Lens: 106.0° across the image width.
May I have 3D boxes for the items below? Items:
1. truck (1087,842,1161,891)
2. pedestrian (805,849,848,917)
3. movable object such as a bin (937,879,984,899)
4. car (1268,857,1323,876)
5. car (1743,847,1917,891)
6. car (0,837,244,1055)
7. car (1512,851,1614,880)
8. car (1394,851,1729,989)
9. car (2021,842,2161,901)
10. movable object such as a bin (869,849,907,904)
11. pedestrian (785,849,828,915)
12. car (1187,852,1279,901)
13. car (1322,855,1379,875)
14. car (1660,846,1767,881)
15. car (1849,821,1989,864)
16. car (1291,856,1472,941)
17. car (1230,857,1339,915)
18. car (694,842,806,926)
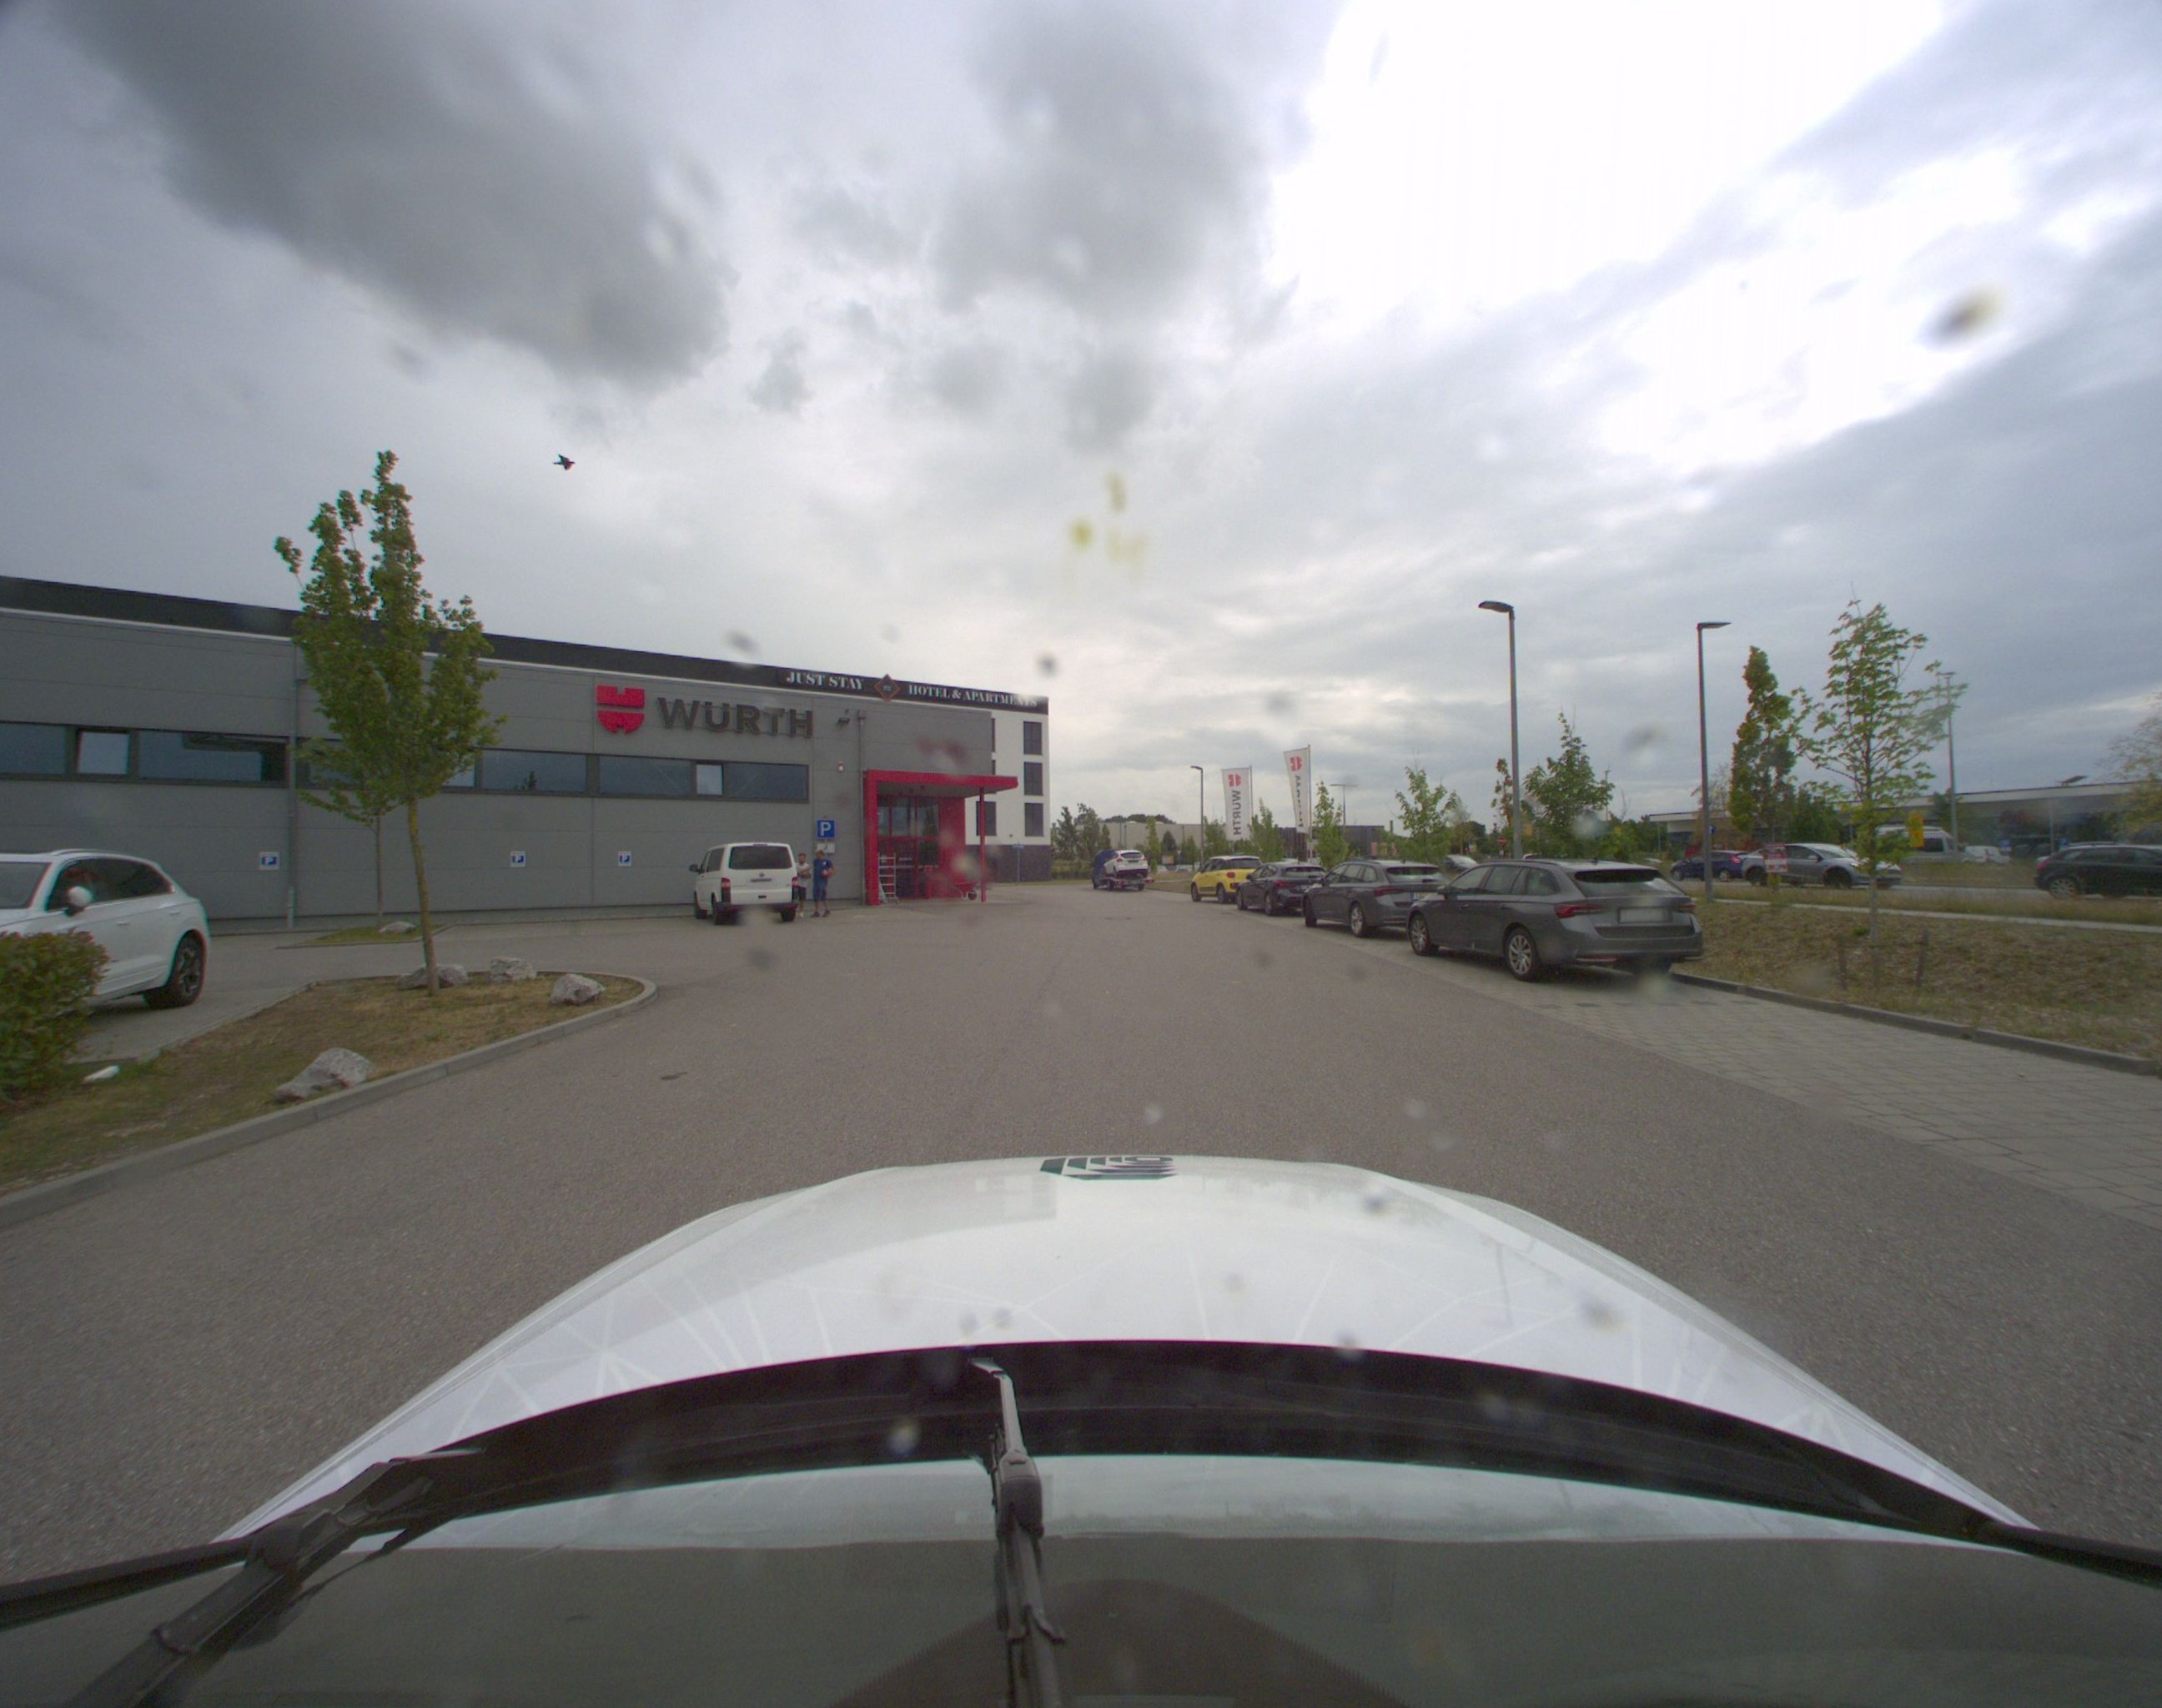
[{"bbox_3d":[2.232,0.729,45.823,2.332,2.406,7.868,-3,-1,-10],"label":"truck"},{"bbox_3d":[-6.939,0.780,22.203,0.670,1.803,0.886,-1,-1,36],"label":"pedestrian"},{"bbox_3d":[-4.470,1.305,30.180,1.495,0.704,0.957,0,-1,-25],"label":"movable object such as a bin"},{"bbox_3d":[16.371,0.967,62.496,1.769,1.395,4.526,-1,-1,-21],"label":"car"},{"bbox_3d":[26.571,0.512,29.142,1.760,1.395,4.549,-1,0,-6],"label":"car"},{"bbox_3d":[-9.886,0.776,7.244,2.005,1.650,4.537,-2,0,-27],"label":"car"},{"bbox_3d":[25.062,0.616,42.526,1.768,1.395,4.528,-1,-1,-19],"label":"car"},{"bbox_3d":[6.063,0.728,11.036,1.747,1.469,4.471,-1,-1,-3],"label":"car"},{"bbox_3d":[26.341,0.411,19.878,1.760,1.395,4.210,-1,0,-6],"label":"car"},{"bbox_3d":[-6.242,0.720,26.373,0.916,1.672,0.736,-4,1,-31],"label":"movable object such as a bin"},{"bbox_3d":[-7.475,0.745,22.172,0.618,1.751,0.911,-1,-1,31],"label":"pedestrian"},{"bbox_3d":[5.400,0.809,29.430,1.859,1.650,3.981,1,-1,-13],"label":"car"},{"bbox_3d":[22.199,0.921,67.222,1.933,1.486,4.385,-2,0,-24],"label":"car"},{"bbox_3d":[29.591,0.439,38.261,1.654,1.459,3.911,-2,0,-6],"label":"car"},{"bbox_3d":[47.466,-0.643,46.227,5.563,2.122,2.339,-3,-1,-2],"label":"car"},{"bbox_3d":[5.924,0.808,16.699,1.749,1.469,4.467,0,-1,-5],"label":"car"},{"bbox_3d":[5.620,0.846,22.996,1.749,1.469,4.100,0,-1,-5],"label":"car"},{"bbox_3d":[-8.589,0.740,20.923,2.068,1.855,4.022,-2,-1,-30],"label":"car"}]
